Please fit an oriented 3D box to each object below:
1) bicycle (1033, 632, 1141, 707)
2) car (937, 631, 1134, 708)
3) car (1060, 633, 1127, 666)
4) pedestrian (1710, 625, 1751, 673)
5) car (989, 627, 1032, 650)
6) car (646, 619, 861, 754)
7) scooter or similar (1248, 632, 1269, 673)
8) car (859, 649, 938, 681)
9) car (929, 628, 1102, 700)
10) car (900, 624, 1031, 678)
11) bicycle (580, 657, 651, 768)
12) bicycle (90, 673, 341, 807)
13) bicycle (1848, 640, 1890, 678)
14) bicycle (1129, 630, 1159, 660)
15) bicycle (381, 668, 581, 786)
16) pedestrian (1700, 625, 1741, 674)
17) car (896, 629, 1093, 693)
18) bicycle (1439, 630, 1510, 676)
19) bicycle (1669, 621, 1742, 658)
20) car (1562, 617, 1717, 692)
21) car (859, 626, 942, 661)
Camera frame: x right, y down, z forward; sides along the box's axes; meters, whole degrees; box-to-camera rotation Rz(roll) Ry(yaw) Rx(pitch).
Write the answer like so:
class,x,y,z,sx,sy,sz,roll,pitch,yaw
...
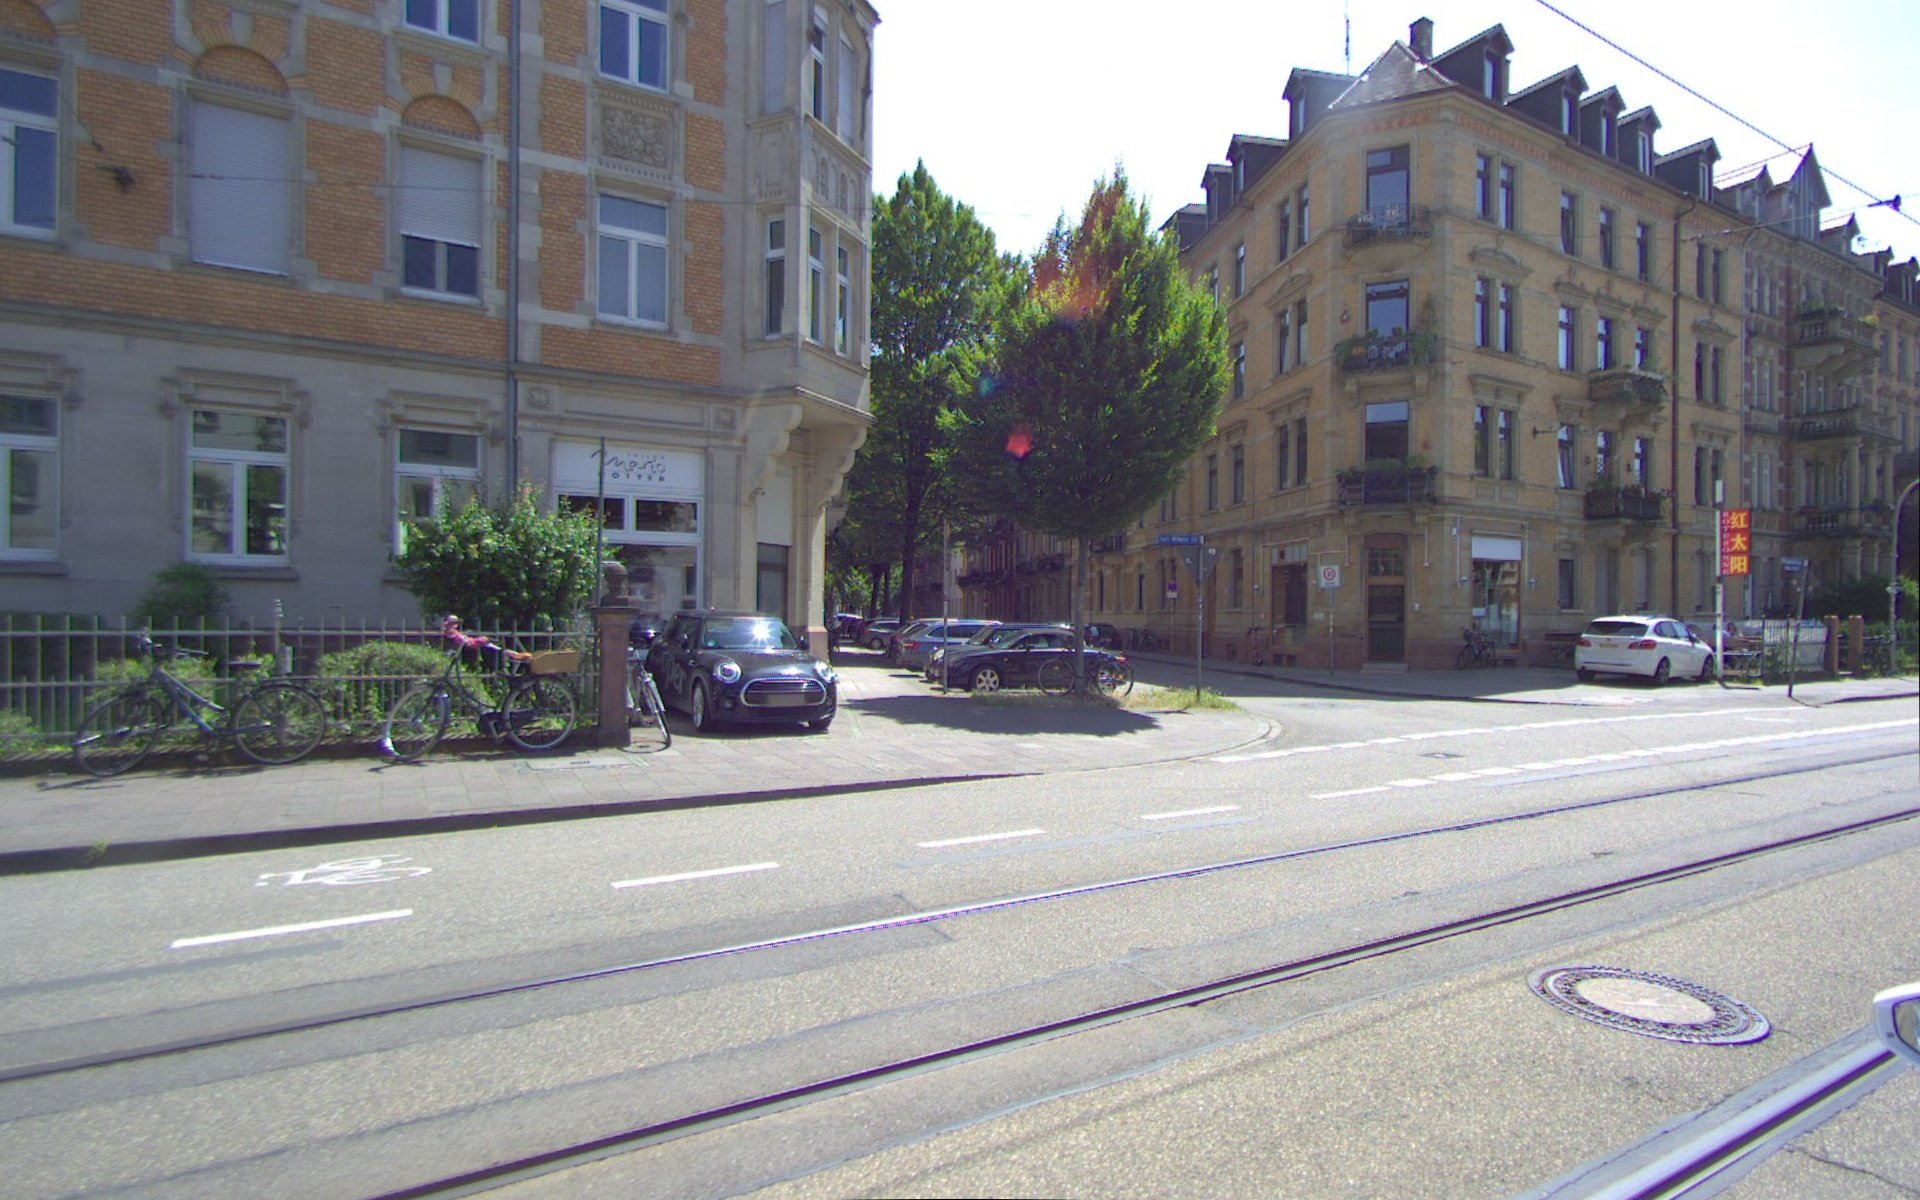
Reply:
class,x,y,z,sx,sy,sz,roll,pitch,yaw
bicycle,2.260,1.238,17.996,1.814,1.244,0.502,2,-1,-3
car,1.505,1.409,20.636,3.705,1.356,1.628,3,-1,-10
car,5.570,2.044,42.383,1.734,1.282,3.994,0,-1,-10
pedestrian,21.519,1.358,28.046,0.704,1.315,0.705,0,-2,-35
car,2.922,2.240,59.052,1.734,1.282,3.994,0,-1,-10
car,-2.854,1.025,13.286,1.693,1.447,3.742,2,-1,-30
scooter or similar,9.590,1.669,32.289,0.486,1.290,1.283,-1,-1,11
car,-3.214,3.361,52.394,3.928,1.578,1.997,0,-1,-10
car,1.244,1.476,23.327,3.705,1.458,1.628,3,-1,-10
car,0.146,1.543,30.602,3.705,1.461,1.628,3,-1,-10
bicycle,-3.862,1.205,11.192,0.544,1.050,1.700,1,0,-26
bicycle,-6.304,1.156,8.614,1.692,0.996,0.436,1,0,-33
bicycle,25.066,1.610,27.695,1.788,1.016,0.451,1,0,-35
bicycle,7.930,1.922,43.370,0.628,1.244,2.064,0,-1,-8
bicycle,-4.573,1.180,9.651,1.692,0.996,0.436,1,0,-33
pedestrian,20.904,1.365,27.610,0.704,1.315,0.705,0,-2,-35
car,0.848,1.543,25.631,4.740,1.383,1.743,3,-1,-11
bicycle,14.162,1.436,27.640,2.117,1.203,0.636,1,0,-28
bicycle,21.729,1.150,29.312,0.467,1.016,1.699,1,0,-27
car,16.590,1.263,24.479,4.062,1.621,1.852,1,0,-36
car,-3.024,2.167,50.316,3.928,1.578,1.997,3,-1,-10
